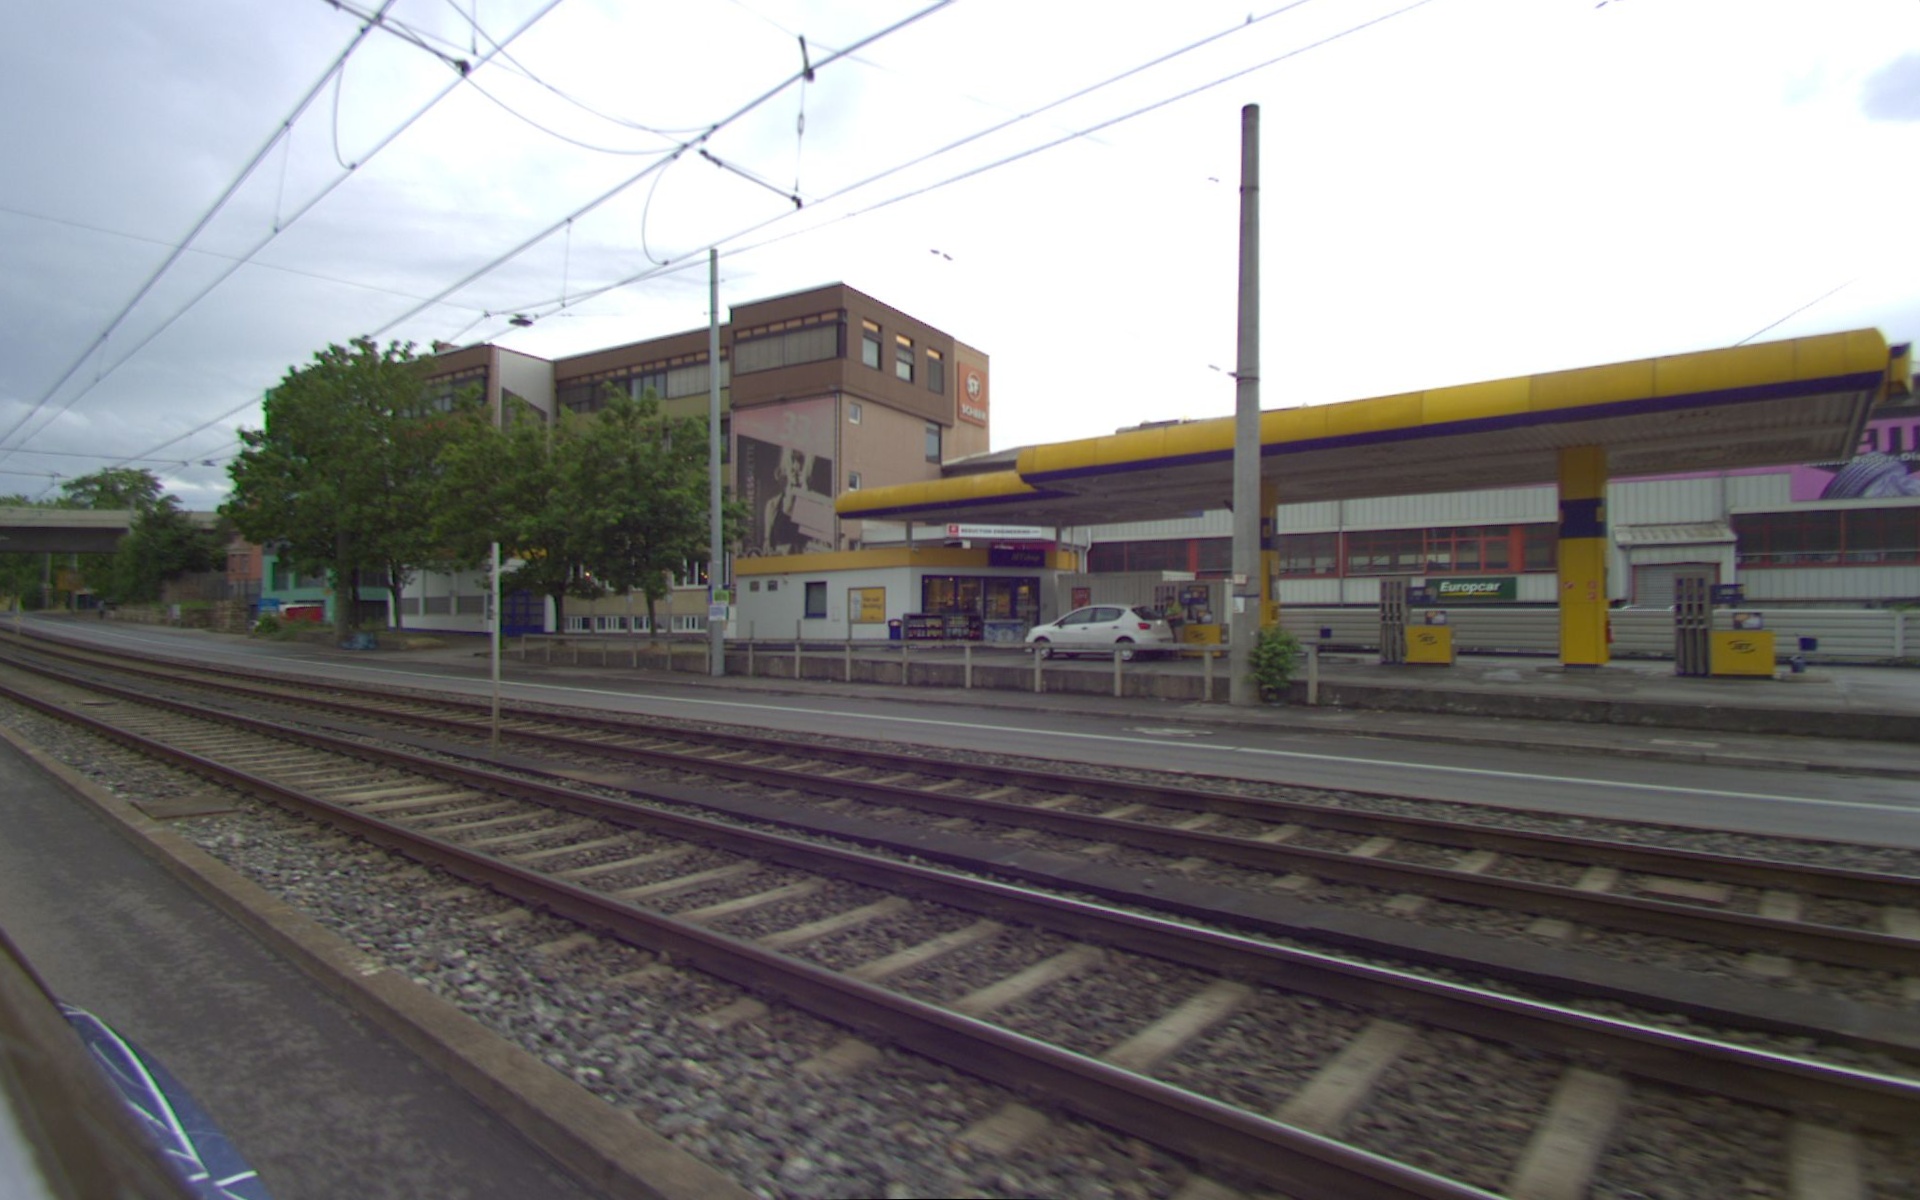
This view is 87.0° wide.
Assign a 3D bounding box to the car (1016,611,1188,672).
[{"bbox_3d":[3.607,1.014,26.080,4.070,1.426,1.753,-1,0,38],"label":"car"}]

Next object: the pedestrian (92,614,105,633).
[{"bbox_3d":[-75.181,2.022,88.323,1.021,1.657,0.737,-1,-2,42],"label":"pedestrian"}]
